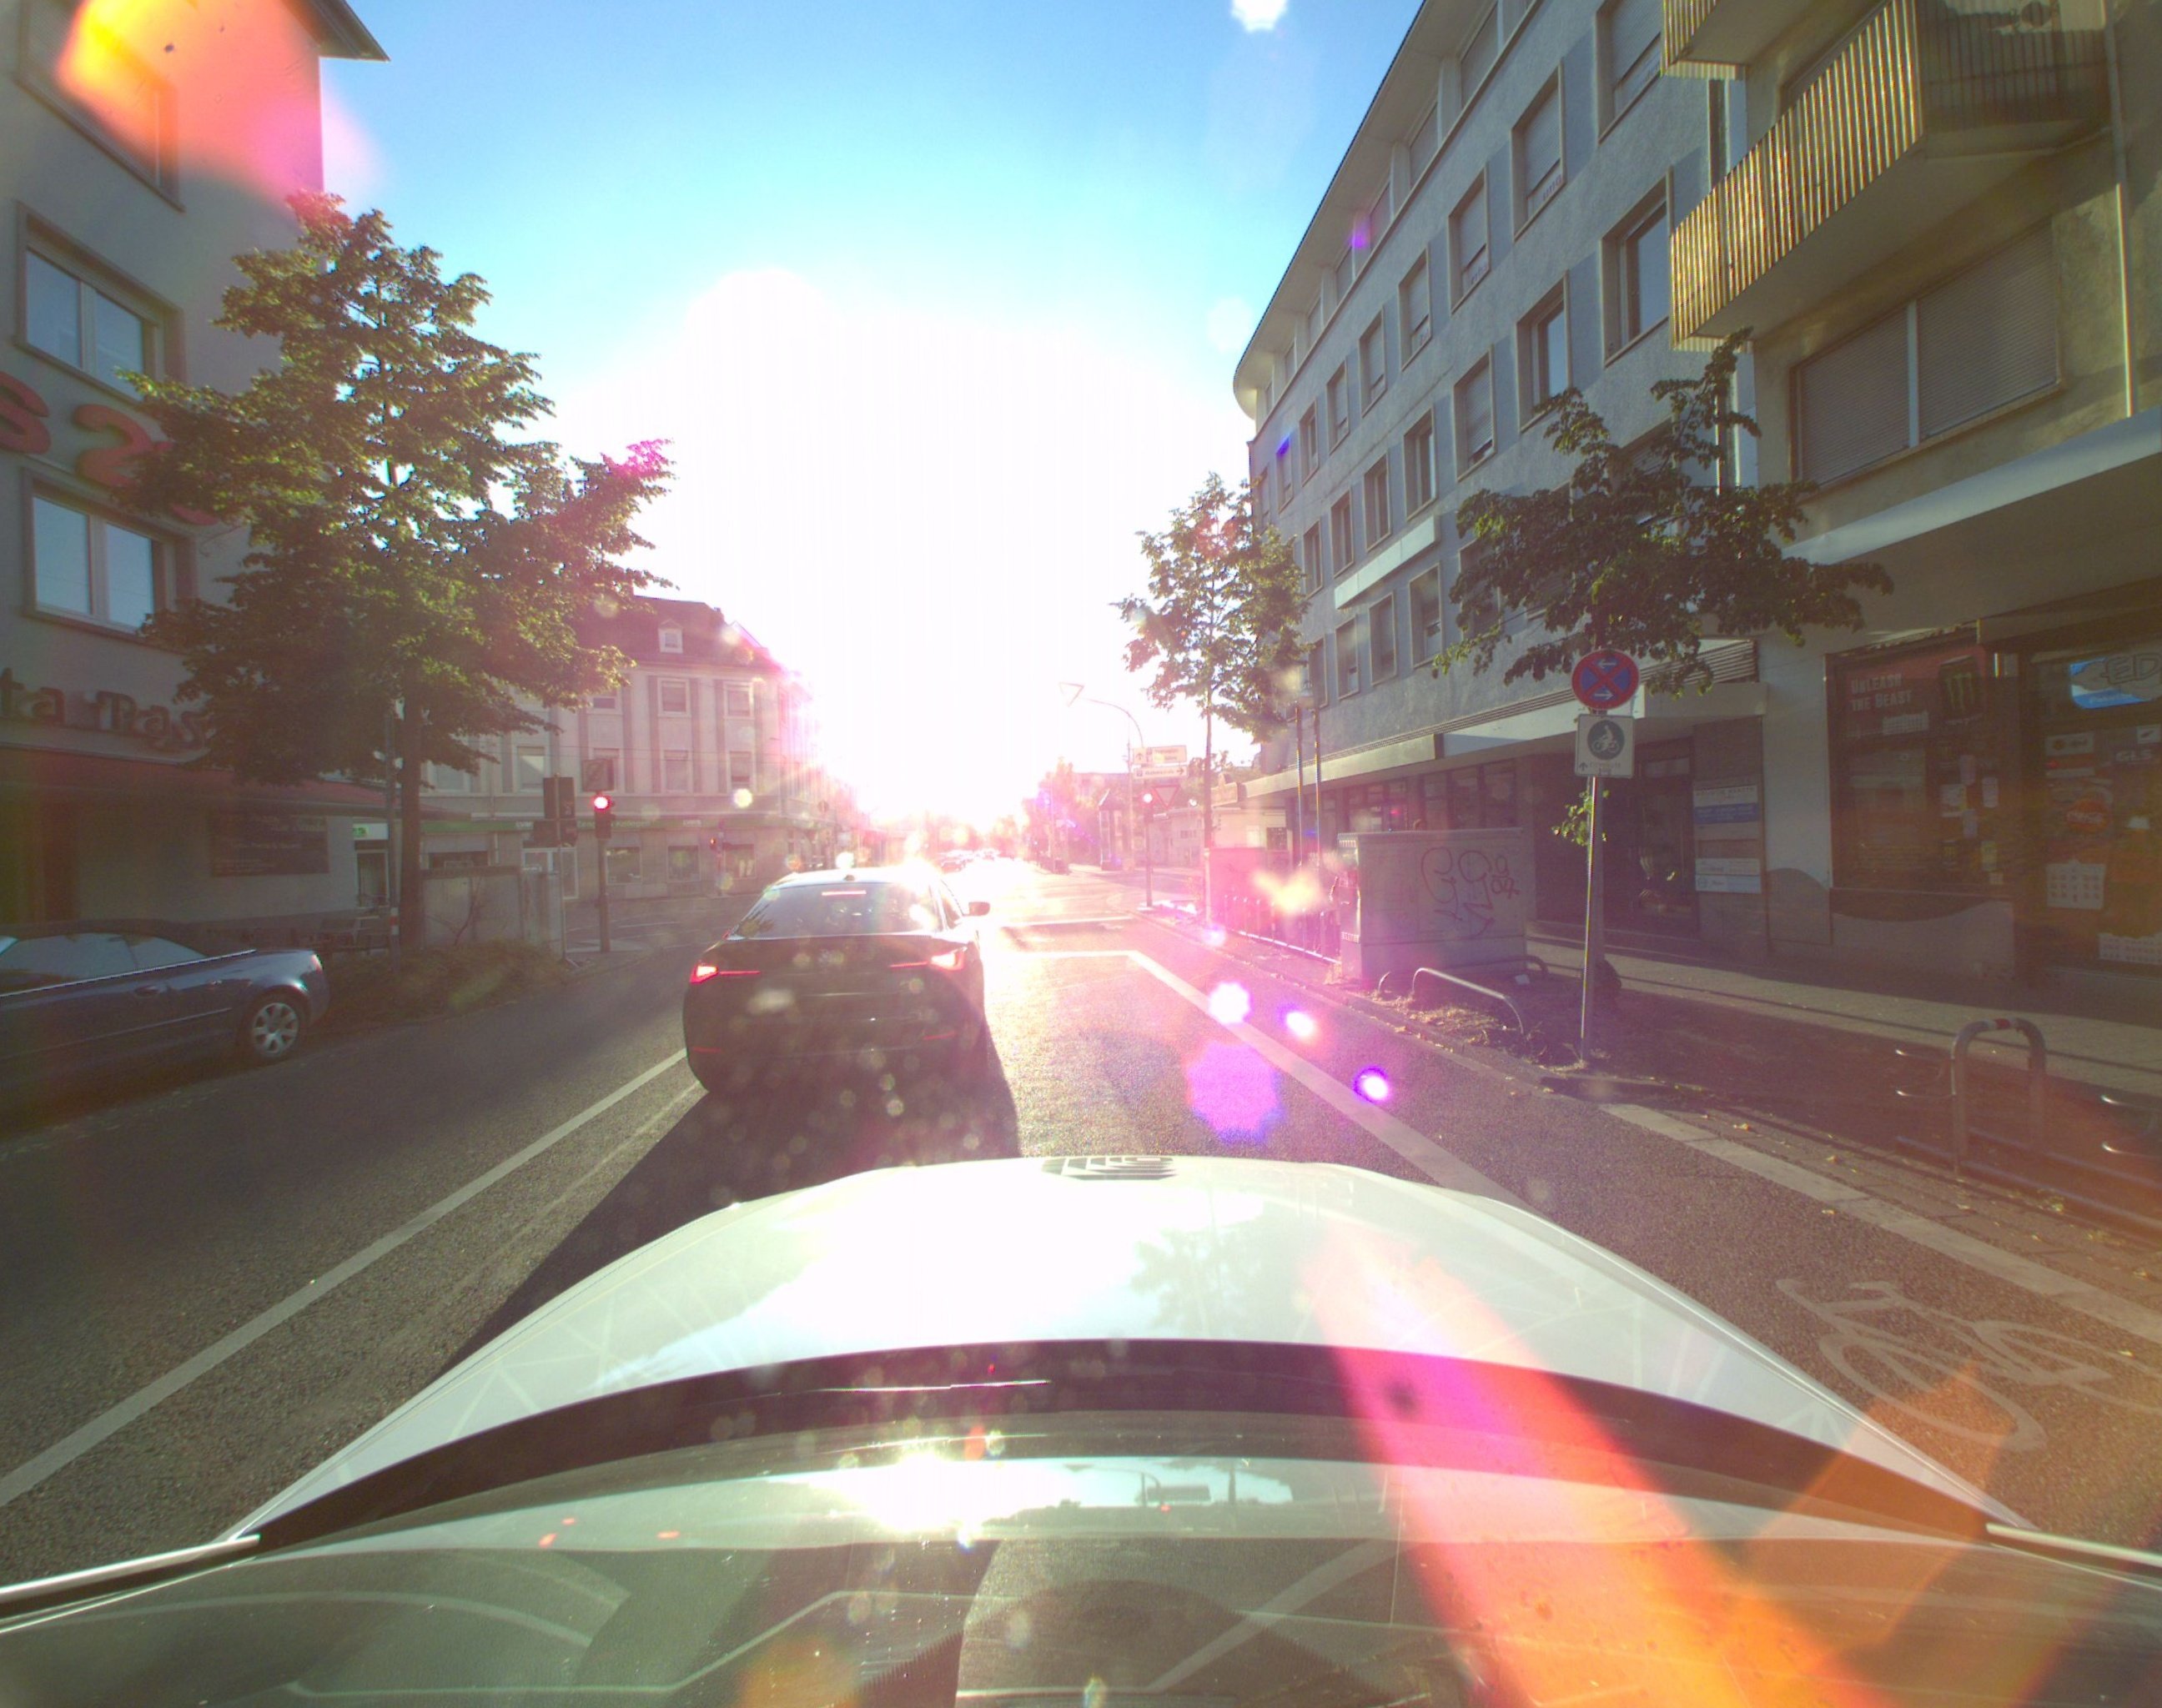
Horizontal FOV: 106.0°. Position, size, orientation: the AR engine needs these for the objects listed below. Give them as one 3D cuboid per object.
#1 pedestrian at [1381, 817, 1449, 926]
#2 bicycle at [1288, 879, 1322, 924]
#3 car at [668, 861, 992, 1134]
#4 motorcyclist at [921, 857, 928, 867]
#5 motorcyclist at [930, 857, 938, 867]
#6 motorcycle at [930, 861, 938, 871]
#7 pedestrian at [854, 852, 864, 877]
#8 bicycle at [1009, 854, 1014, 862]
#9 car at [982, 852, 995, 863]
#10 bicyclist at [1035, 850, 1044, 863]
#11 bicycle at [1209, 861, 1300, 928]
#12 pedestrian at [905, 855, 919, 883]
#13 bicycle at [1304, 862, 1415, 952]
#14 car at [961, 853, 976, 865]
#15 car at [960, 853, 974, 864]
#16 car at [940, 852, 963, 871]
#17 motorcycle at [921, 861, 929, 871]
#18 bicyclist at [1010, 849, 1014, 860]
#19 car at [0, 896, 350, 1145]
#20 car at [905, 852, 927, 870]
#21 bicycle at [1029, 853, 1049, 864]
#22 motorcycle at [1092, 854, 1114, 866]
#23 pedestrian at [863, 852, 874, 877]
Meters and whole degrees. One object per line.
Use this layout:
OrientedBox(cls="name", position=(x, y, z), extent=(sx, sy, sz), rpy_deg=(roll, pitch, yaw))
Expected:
OrientedBox(cls="pedestrian", position=(5.855, 0.295, 14.306), extent=(0.834, 1.841, 0.677), rpy_deg=(-2, 0, -6))
OrientedBox(cls="bicycle", position=(4.208, 0.877, 15.319), extent=(0.249, 0.796, 1.113), rpy_deg=(0, 0, -5))
OrientedBox(cls="car", position=(-1.647, 0.804, 6.663), extent=(1.735, 1.428, 4.213), rpy_deg=(-1, 0, -7))
OrientedBox(cls="motorcyclist", position=(-14.583, 0.736, 76.040), extent=(0.574, 0.995, 0.701), rpy_deg=(0, 0, -6))
OrientedBox(cls="motorcyclist", position=(-14.455, 0.772, 80.058), extent=(0.574, 0.915, 2.196), rpy_deg=(0, 0, -6))
OrientedBox(cls="motorcycle", position=(-14.479, 1.153, 80.324), extent=(0.574, 0.915, 2.196), rpy_deg=(0, 0, -6))
OrientedBox(cls="pedestrian", position=(-17.035, 0.784, 62.518), extent=(0.642, 1.876, 0.630), rpy_deg=(0, 0, -7))
OrientedBox(cls="bicycle", position=(-10.089, 0.550, 118.621), extent=(0.549, 1.159, 2.138), rpy_deg=(-1, -1, -7))
OrientedBox(cls="car", position=(-13.642, 0.547, 119.815), extent=(1.816, 1.519, 3.992), rpy_deg=(-2, 0, -6))
OrientedBox(cls="bicyclist", position=(-4.546, 0.284, 89.739), extent=(0.879, 1.505, 0.613), rpy_deg=(0, 0, 5))
OrientedBox(cls="bicycle", position=(3.233, 0.741, 15.214), extent=(1.610, 1.171, 0.318), rpy_deg=(-2, 0, -5))
OrientedBox(cls="pedestrian", position=(-9.378, 0.837, 45.296), extent=(0.733, 1.529, 0.471), rpy_deg=(0, 0, -11))
OrientedBox(cls="bicycle", position=(3.896, 0.733, 11.415), extent=(1.438, 1.220, 0.383), rpy_deg=(0, 0, -5))
OrientedBox(cls="car", position=(-15.823, 0.668, 114.536), extent=(1.816, 1.519, 3.992), rpy_deg=(-2, 0, -6))
OrientedBox(cls="car", position=(-17.280, 0.672, 123.475), extent=(1.816, 1.519, 3.992), rpy_deg=(-2, 0, -6))
OrientedBox(cls="car", position=(-11.501, 0.654, 72.477), extent=(1.816, 1.519, 3.992), rpy_deg=(-2, 0, -6))
OrientedBox(cls="motorcycle", position=(-14.601, 1.155, 76.251), extent=(0.574, 0.915, 2.196), rpy_deg=(0, 0, -6))
OrientedBox(cls="bicyclist", position=(-10.085, 0.090, 118.547), extent=(0.549, 1.481, 0.721), rpy_deg=(-1, -1, -8))
OrientedBox(cls="car", position=(-7.640, 1.156, 5.543), extent=(1.721, 1.415, 4.270), rpy_deg=(-4, 0, -7))
OrientedBox(cls="car", position=(-17.737, 0.701, 87.690), extent=(1.816, 1.788, 3.992), rpy_deg=(-2, 0, -6))
OrientedBox(cls="bicycle", position=(-4.631, 0.539, 89.752), extent=(2.202, 1.202, 0.621), rpy_deg=(0, 0, 4))
OrientedBox(cls="motorcycle", position=(1.825, 0.513, 67.972), extent=(1.673, 0.939, 0.851), rpy_deg=(-2, 0, -18))
OrientedBox(cls="pedestrian", position=(-16.250, 0.778, 62.270), extent=(0.675, 1.876, 0.616), rpy_deg=(0, 0, -6))
